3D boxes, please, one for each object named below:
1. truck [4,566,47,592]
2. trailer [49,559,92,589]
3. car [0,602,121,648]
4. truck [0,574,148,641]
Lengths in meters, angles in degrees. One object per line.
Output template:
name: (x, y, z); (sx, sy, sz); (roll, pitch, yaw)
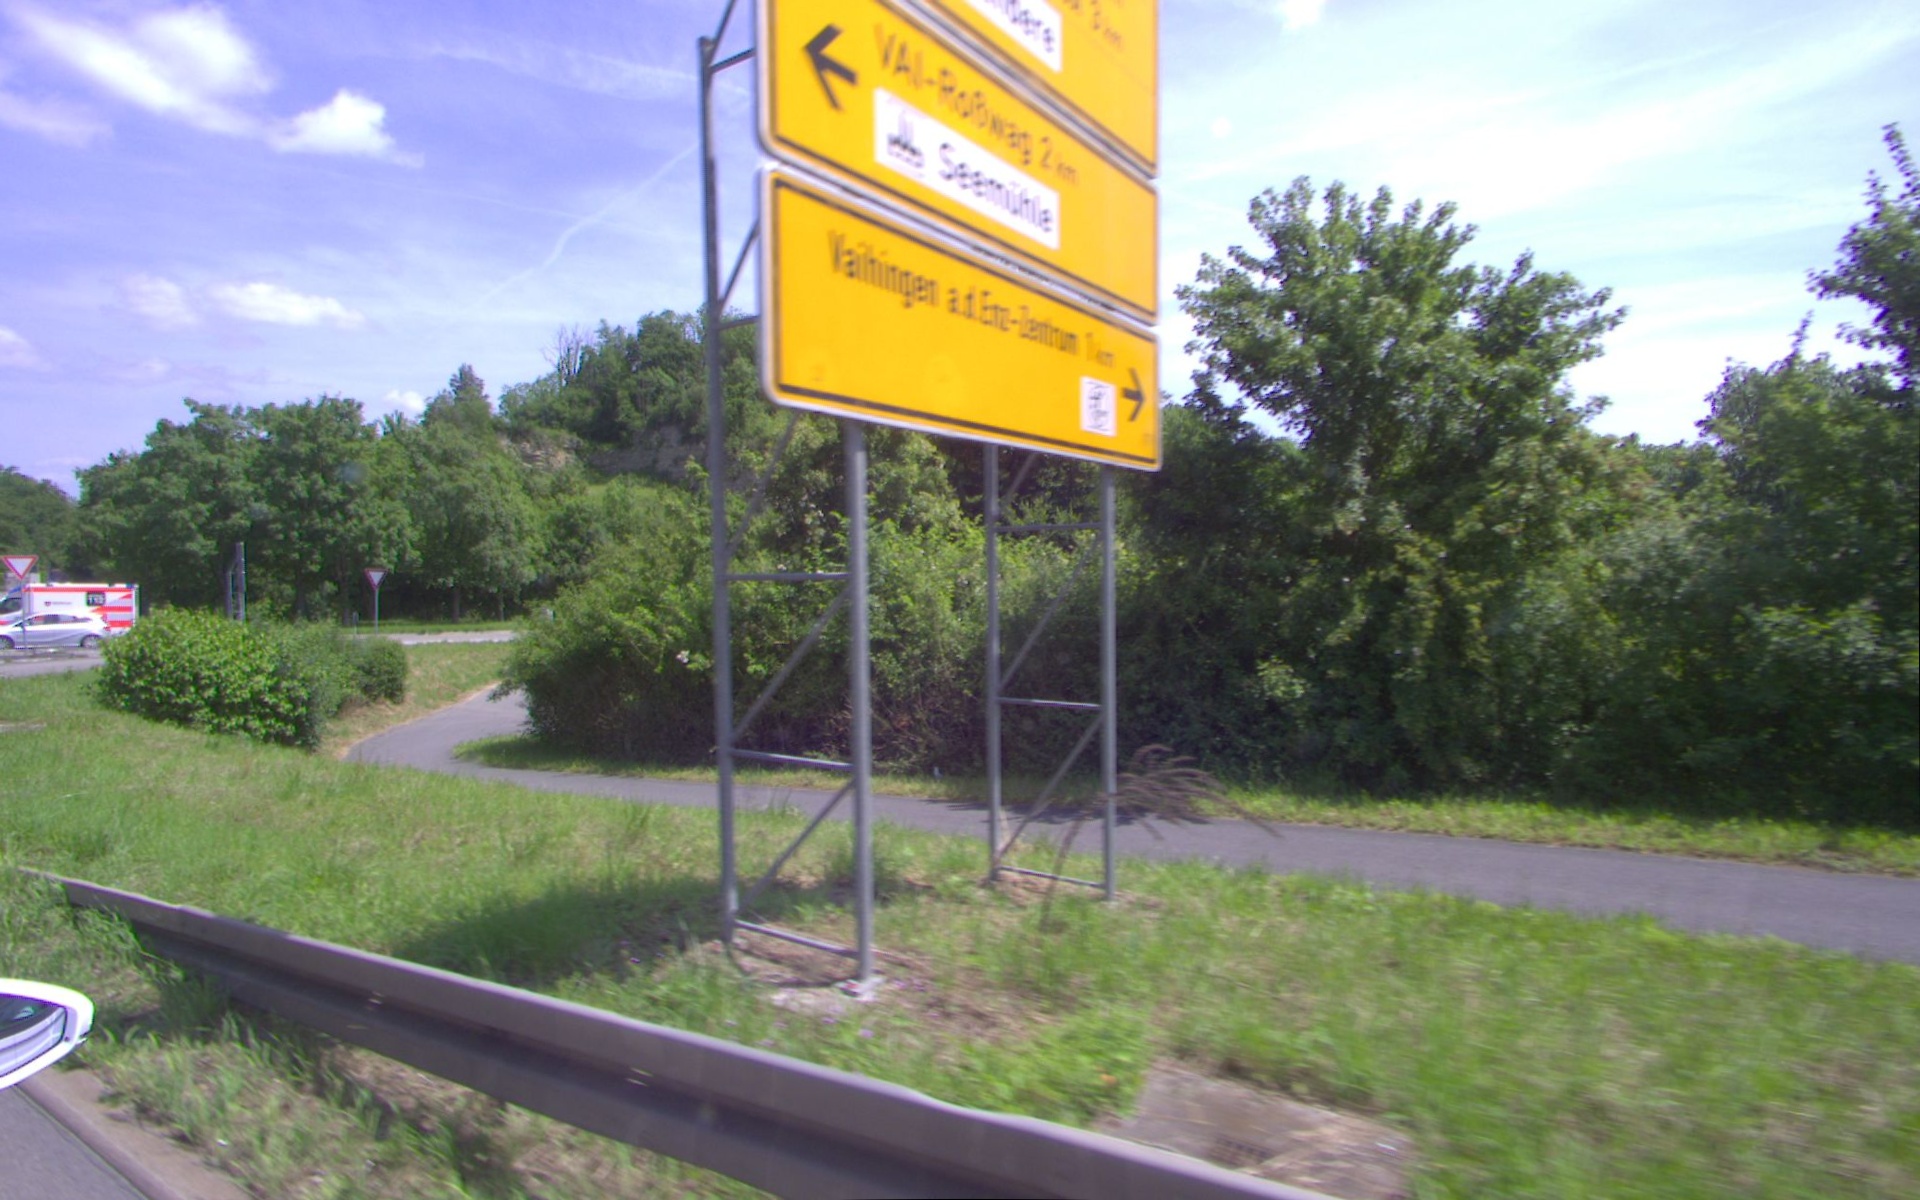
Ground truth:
truck: (-115.608, -2.574, 123.964); (2.828, 2.986, 7.058); (1, -1, -34)
trailer: (-123.024, -3.576, 138.593); (3.220, 3.733, 9.190); (1, -1, -34)
car: (-36.579, 1.026, 40.015); (1.976, 1.740, 4.412); (-3, -3, 38)
truck: (-39.845, 0.391, 44.304); (5.958, 2.761, 2.485); (1, -3, -37)
